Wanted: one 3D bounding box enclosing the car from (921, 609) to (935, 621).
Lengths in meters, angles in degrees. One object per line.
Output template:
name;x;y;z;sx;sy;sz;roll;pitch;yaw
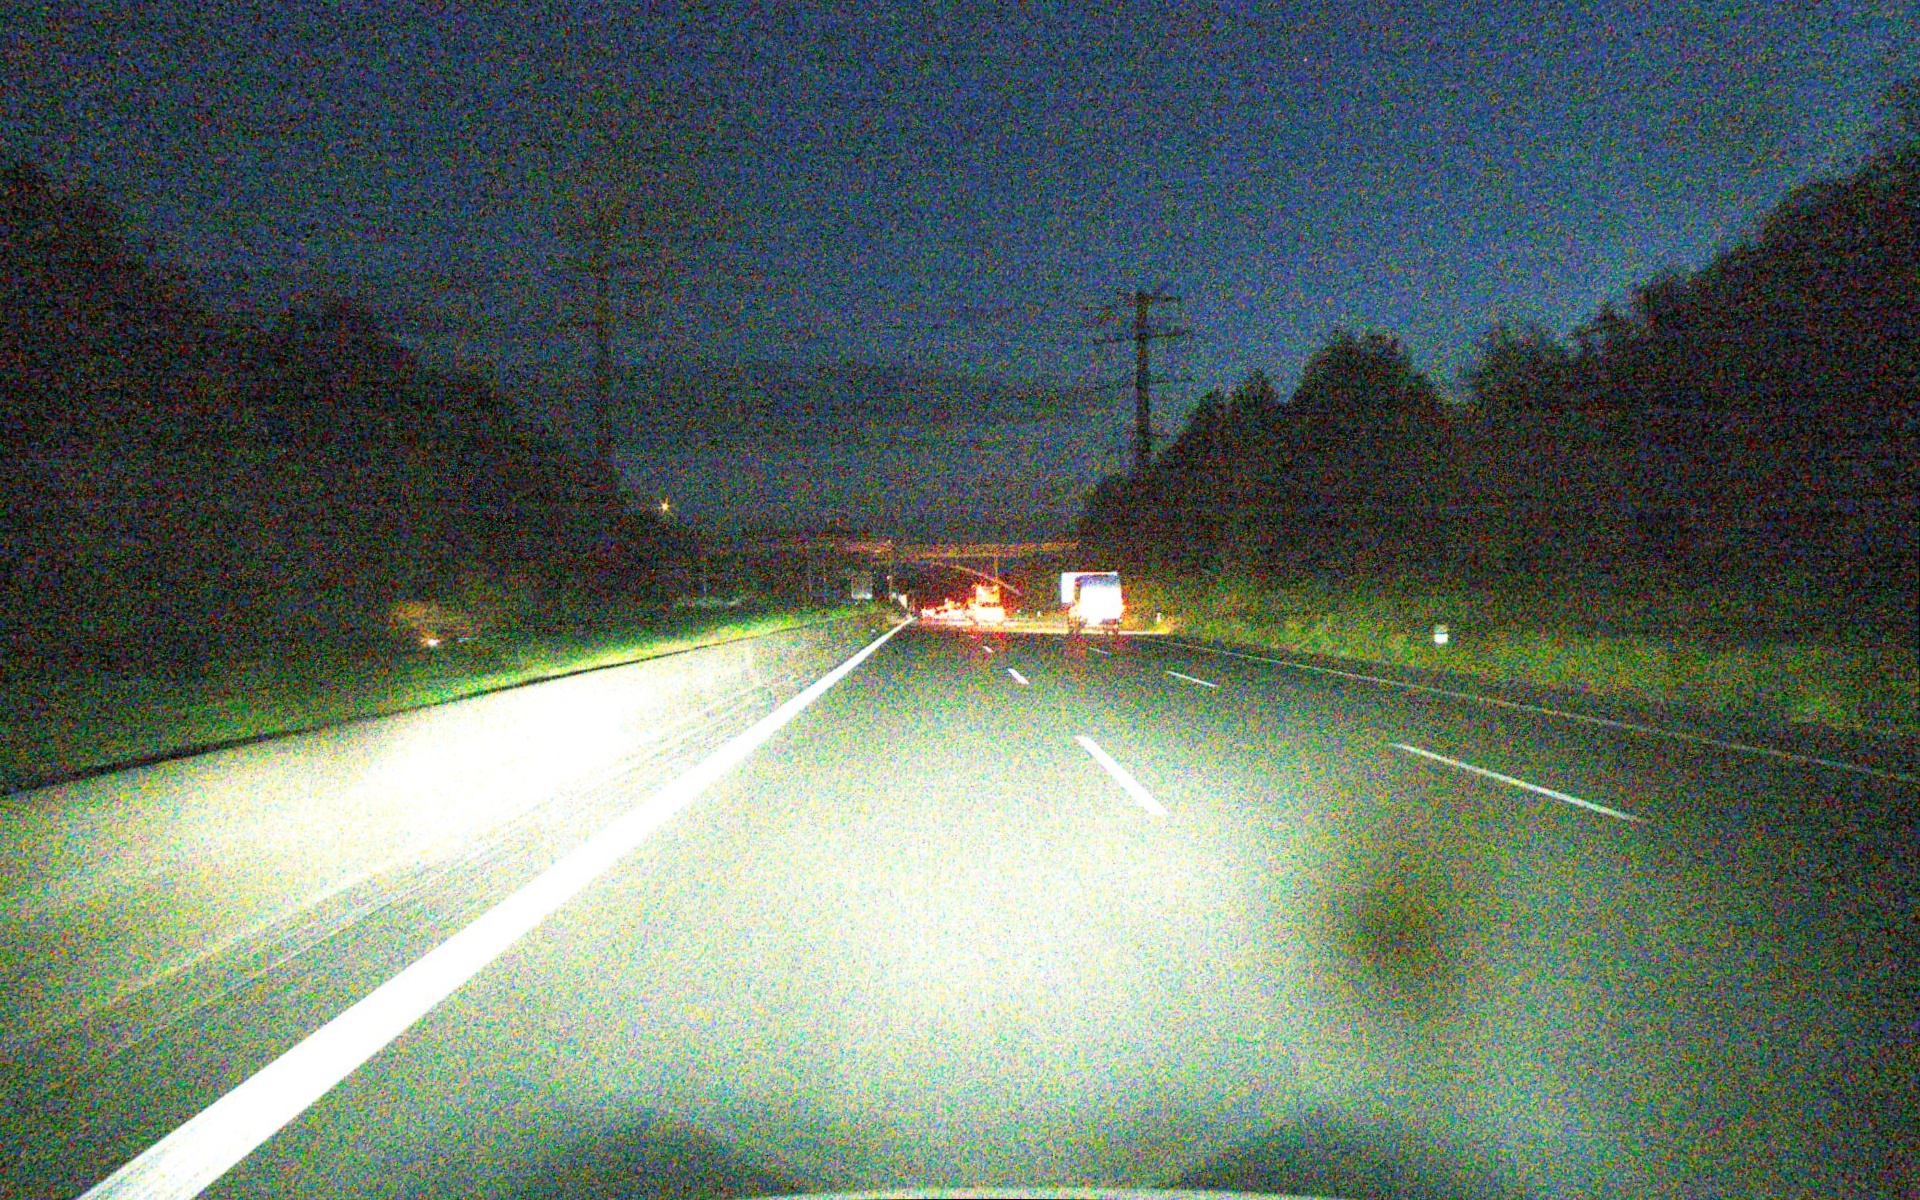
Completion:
car;-4.336;2.078;226.340;1.783;1.492;4.247;1;1;0

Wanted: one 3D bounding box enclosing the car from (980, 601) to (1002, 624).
car;1.992;0.799;106.486;1.318;1.411;3.501;1;1;0

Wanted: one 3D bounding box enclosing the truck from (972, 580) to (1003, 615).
truck;2.785;-0.317;169.911;2.982;3.382;10.141;1;1;0

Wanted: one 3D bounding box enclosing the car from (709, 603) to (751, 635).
car;-13.086;1.102;94.296;1.756;1.713;5.167;1;-2;-1

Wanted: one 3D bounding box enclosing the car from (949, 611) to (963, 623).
car;-0.552;2.207;213.372;1.783;1.492;4.247;1;1;0

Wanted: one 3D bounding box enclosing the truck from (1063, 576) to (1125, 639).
truck;6.202;0.415;77.377;2.035;2.738;7.304;1;-2;-2
